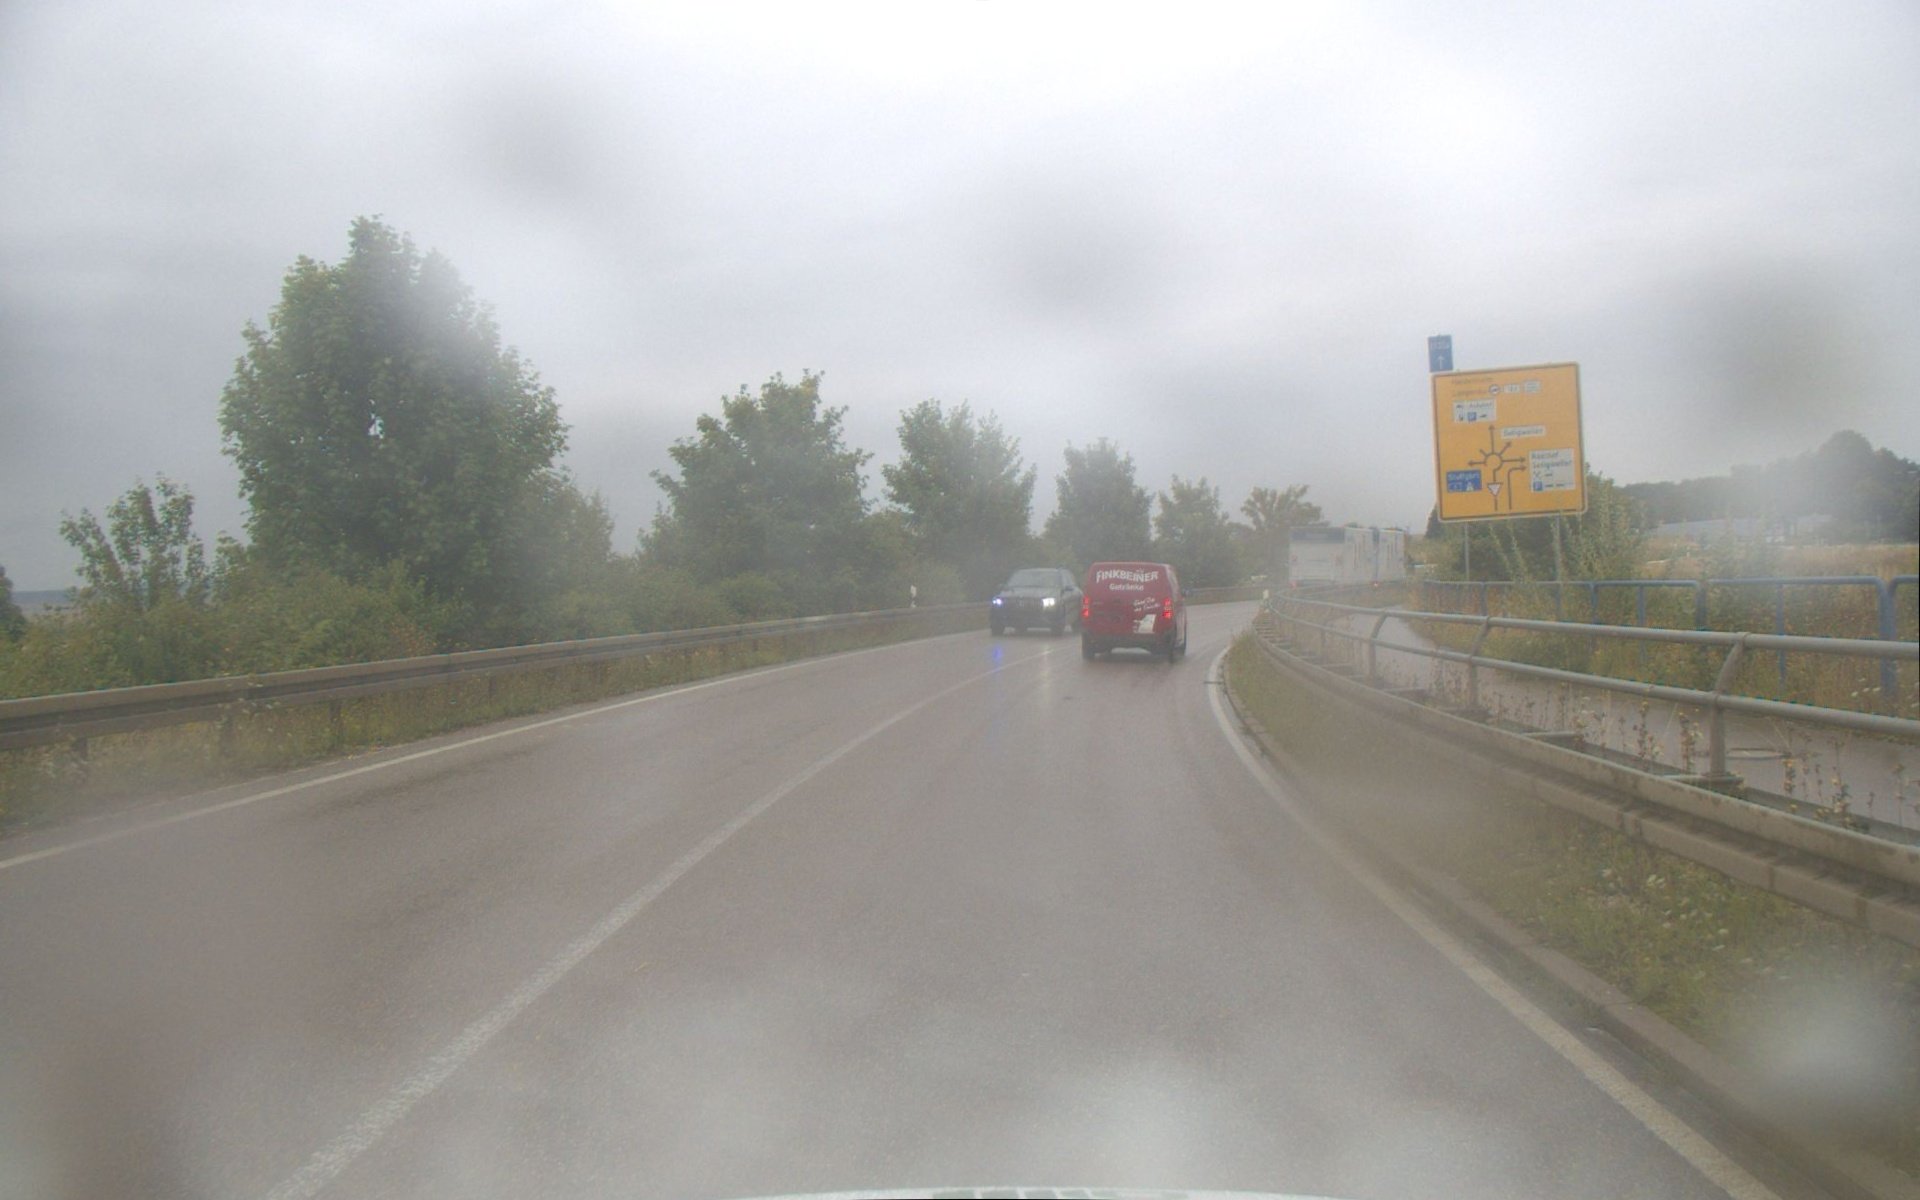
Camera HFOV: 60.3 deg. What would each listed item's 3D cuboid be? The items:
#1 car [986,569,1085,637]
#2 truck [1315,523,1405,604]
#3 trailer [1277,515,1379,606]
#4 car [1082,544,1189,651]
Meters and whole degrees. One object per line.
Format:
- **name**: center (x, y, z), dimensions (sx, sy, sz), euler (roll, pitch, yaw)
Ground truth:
- **car**: center (2.103, 0.048, 44.927), dimensions (1.951, 1.757, 4.003), euler (0, 1, 14)
- **truck**: center (20.763, -1.812, 85.496), dimensions (3.136, 3.990, 8.737), euler (1, 0, 23)
- **trailer**: center (17.345, -1.771, 77.440), dimensions (3.136, 3.990, 8.737), euler (1, 0, 23)
- **car**: center (3.589, -0.097, 33.576), dimensions (1.951, 1.959, 4.147), euler (-2, 1, 7)
